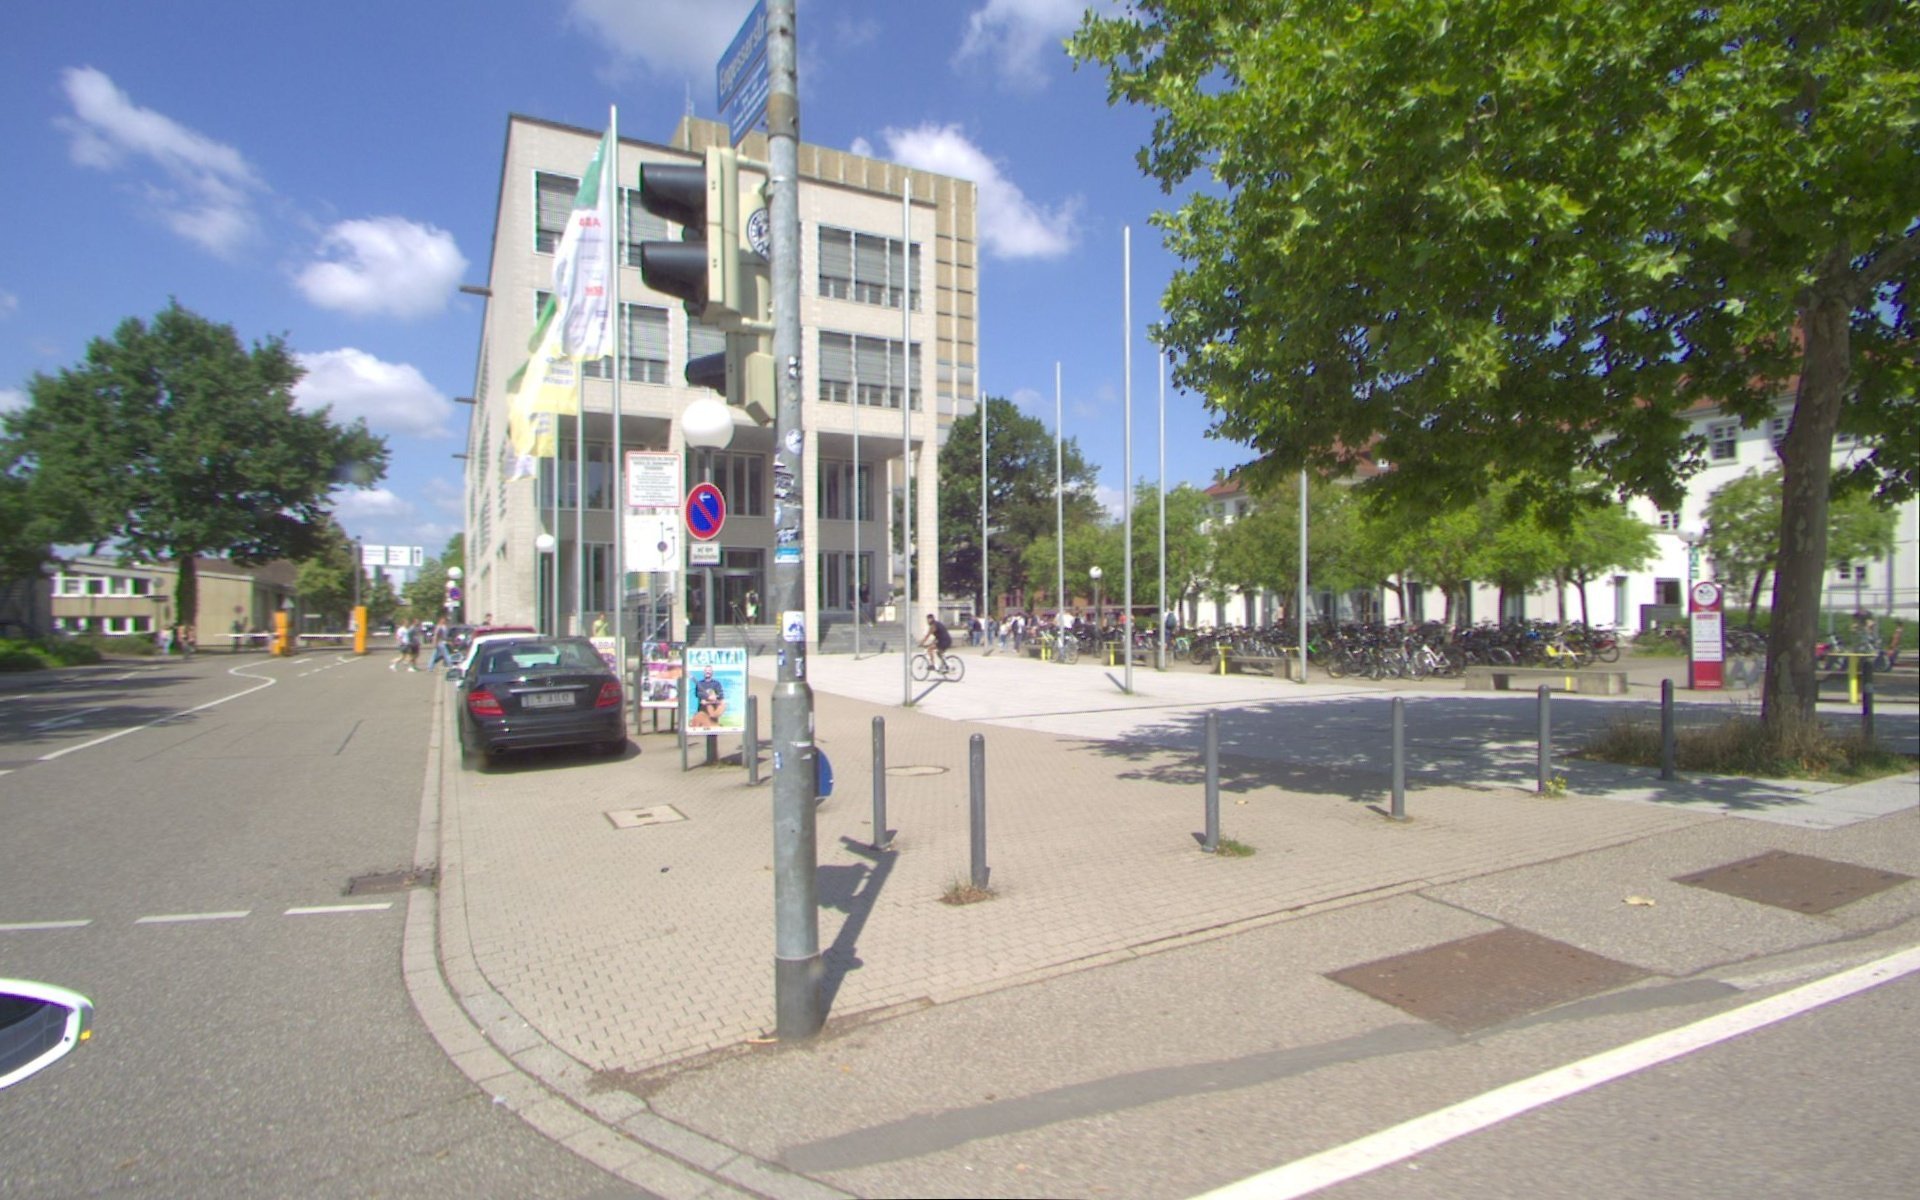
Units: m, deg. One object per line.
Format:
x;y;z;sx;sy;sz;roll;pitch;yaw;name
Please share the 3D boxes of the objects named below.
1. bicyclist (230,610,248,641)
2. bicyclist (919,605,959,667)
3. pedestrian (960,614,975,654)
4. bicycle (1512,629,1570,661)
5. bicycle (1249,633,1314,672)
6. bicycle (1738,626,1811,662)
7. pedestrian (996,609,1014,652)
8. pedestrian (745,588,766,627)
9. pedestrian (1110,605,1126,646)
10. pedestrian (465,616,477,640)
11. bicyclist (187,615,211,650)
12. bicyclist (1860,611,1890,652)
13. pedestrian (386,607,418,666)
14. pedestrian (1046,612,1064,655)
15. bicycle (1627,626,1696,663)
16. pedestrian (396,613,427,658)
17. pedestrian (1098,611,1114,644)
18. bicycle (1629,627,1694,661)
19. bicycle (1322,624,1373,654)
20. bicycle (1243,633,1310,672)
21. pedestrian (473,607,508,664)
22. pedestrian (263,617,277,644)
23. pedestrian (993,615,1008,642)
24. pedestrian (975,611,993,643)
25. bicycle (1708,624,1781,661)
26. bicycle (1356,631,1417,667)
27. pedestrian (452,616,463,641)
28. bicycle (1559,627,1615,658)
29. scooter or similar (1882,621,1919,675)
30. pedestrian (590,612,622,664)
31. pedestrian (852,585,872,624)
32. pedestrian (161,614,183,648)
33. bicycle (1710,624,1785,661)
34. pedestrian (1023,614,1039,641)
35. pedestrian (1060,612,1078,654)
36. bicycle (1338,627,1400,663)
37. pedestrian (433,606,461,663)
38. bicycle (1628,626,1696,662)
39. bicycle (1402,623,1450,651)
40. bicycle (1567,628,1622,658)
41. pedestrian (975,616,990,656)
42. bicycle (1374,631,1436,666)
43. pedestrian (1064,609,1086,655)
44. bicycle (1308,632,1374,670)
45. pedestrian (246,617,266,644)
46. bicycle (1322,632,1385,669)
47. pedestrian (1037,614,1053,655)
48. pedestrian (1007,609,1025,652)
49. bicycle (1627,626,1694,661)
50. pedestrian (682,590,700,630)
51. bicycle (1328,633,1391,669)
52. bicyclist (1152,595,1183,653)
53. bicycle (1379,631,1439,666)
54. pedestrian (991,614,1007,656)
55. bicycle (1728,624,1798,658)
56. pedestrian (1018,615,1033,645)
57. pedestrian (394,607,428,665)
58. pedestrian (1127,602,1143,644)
-41.281;1.446;57.334;0.684;1.759;0.914;0;-1;-28;bicyclist
-0.525;0.924;25.752;0.915;1.584;0.663;0;0;10;bicyclist
0.416;1.948;56.736;0.703;2.257;0.634;-1;-2;-9;pedestrian
21.051;1.625;36.294;1.743;1.112;0.601;-3;-3;32;bicycle
9.606;1.569;29.924;1.743;1.112;0.601;-3;-3;32;bicycle
26.407;1.431;32.504;1.743;1.112;0.601;-3;-3;32;bicycle
1.874;1.268;41.649;0.622;1.768;0.717;-1;-2;-6;pedestrian
-8.747;0.317;42.790;0.709;1.605;0.714;0;-2;-25;pedestrian
8.718;1.401;55.312;0.625;2.257;0.713;-2;-2;32;pedestrian
-36.402;2.071;74.545;0.758;1.804;0.906;-2;1;-29;pedestrian
-33.733;1.439;44.418;0.684;1.568;1.014;0;-1;-28;bicyclist
30.020;1.024;32.858;0.733;1.338;0.603;0;1;-36;bicyclist
-18.635;1.219;33.445;0.771;1.950;0.593;0;0;-6;pedestrian
5.153;1.816;54.142;0.706;2.257;0.631;-2;-2;32;pedestrian
22.292;1.424;31.854;1.743;1.112;0.601;-3;-3;32;bicycle
-21.493;1.396;39.239;1.025;1.739;0.622;-1;0;30;pedestrian
8.122;1.551;55.647;0.625;1.799;0.713;-2;-2;32;pedestrian
23.597;1.487;33.716;1.743;1.112;0.601;-3;-3;32;bicycle
15.239;1.546;39.398;1.743;1.112;0.601;-3;-3;32;bicycle
9.244;1.545;29.287;1.743;1.112;0.601;-3;-3;32;bicycle
-16.344;1.238;34.869;1.082;1.945;1.016;0;-1;-27;pedestrian
-47.927;2.129;69.559;0.697;1.833;0.996;0;0;-29;pedestrian
2.253;1.597;56.239;0.703;1.448;0.634;-1;-2;-9;pedestrian
1.327;1.496;54.937;0.855;1.723;0.634;-1;-2;-9;pedestrian
25.076;1.370;32.050;1.743;1.112;0.601;-3;-3;32;bicycle
13.826;1.600;32.487;1.743;1.112;0.601;-3;-3;32;bicycle
-37.267;2.077;74.257;0.687;1.804;1.080;-2;1;-29;pedestrian
23.704;1.614;37.888;1.743;1.112;0.601;-3;-3;32;bicycle
22.288;1.112;23.233;0.278;1.249;1.287;-1;-1;-41;scooter or similar
-12.239;1.302;34.598;0.907;1.762;0.997;0;-1;-28;pedestrian
-4.620;0.215;47.146;0.709;1.820;0.714;0;-2;-25;pedestrian
-39.099;1.545;49.711;0.705;1.648;0.879;0;-1;-29;pedestrian
24.494;1.340;31.184;1.743;1.112;0.601;-3;-3;32;bicycle
3.920;1.544;55.425;0.703;1.454;0.634;-1;-2;-9;pedestrian
5.792;1.765;53.414;0.706;2.257;0.631;-2;-2;32;pedestrian
13.110;1.455;32.097;1.743;1.112;0.601;-3;-3;32;bicycle
-17.920;1.200;34.993;0.712;1.950;0.750;0;0;-12;pedestrian
22.785;1.447;32.548;1.743;1.112;0.601;-3;-3;32;bicycle
19.375;1.564;41.662;1.743;1.112;0.601;-3;-3;32;bicycle
24.316;1.657;38.422;1.743;1.112;0.601;-3;-3;32;bicycle
1.252;2.047;56.974;0.703;2.257;0.634;-1;-2;-9;pedestrian
14.587;1.600;32.841;1.743;1.112;0.601;-3;-3;32;bicycle
5.690;1.581;49.680;0.843;2.257;0.631;-2;-2;32;pedestrian
11.349;1.526;29.871;1.743;1.112;0.601;-3;-3;32;bicycle
-49.054;2.115;69.751;1.044;1.840;0.802;0;0;-29;pedestrian
12.196;1.566;31.050;1.743;1.112;0.601;-3;-3;32;bicycle
4.752;1.912;55.880;0.703;2.257;0.634;-1;-2;-9;pedestrian
2.320;1.265;41.782;0.622;1.768;0.717;-1;-2;-6;pedestrian
23.177;1.454;33.150;1.743;1.112;0.601;-3;-3;32;bicycle
-11.538;0.427;42.890;0.624;1.687;0.714;0;-2;-25;pedestrian
12.608;1.614;31.626;1.743;1.112;0.601;-3;-3;32;bicycle
6.754;0.796;32.607;0.748;1.868;0.662;-1;-2;-15;bicyclist
14.969;1.618;33.370;1.743;1.112;0.601;-3;-3;32;bicycle
2.147;1.933;55.104;0.703;2.257;0.634;-1;-2;-9;pedestrian
26.973;1.386;33.676;1.743;1.112;0.601;-3;-3;32;bicycle
3.432;1.568;52.495;0.622;1.516;0.717;-1;-2;-5;pedestrian
-18.706;1.224;34.142;0.769;1.950;0.734;0;0;-5;pedestrian
9.572;1.269;54.771;0.625;2.257;0.713;-2;-2;32;pedestrian
